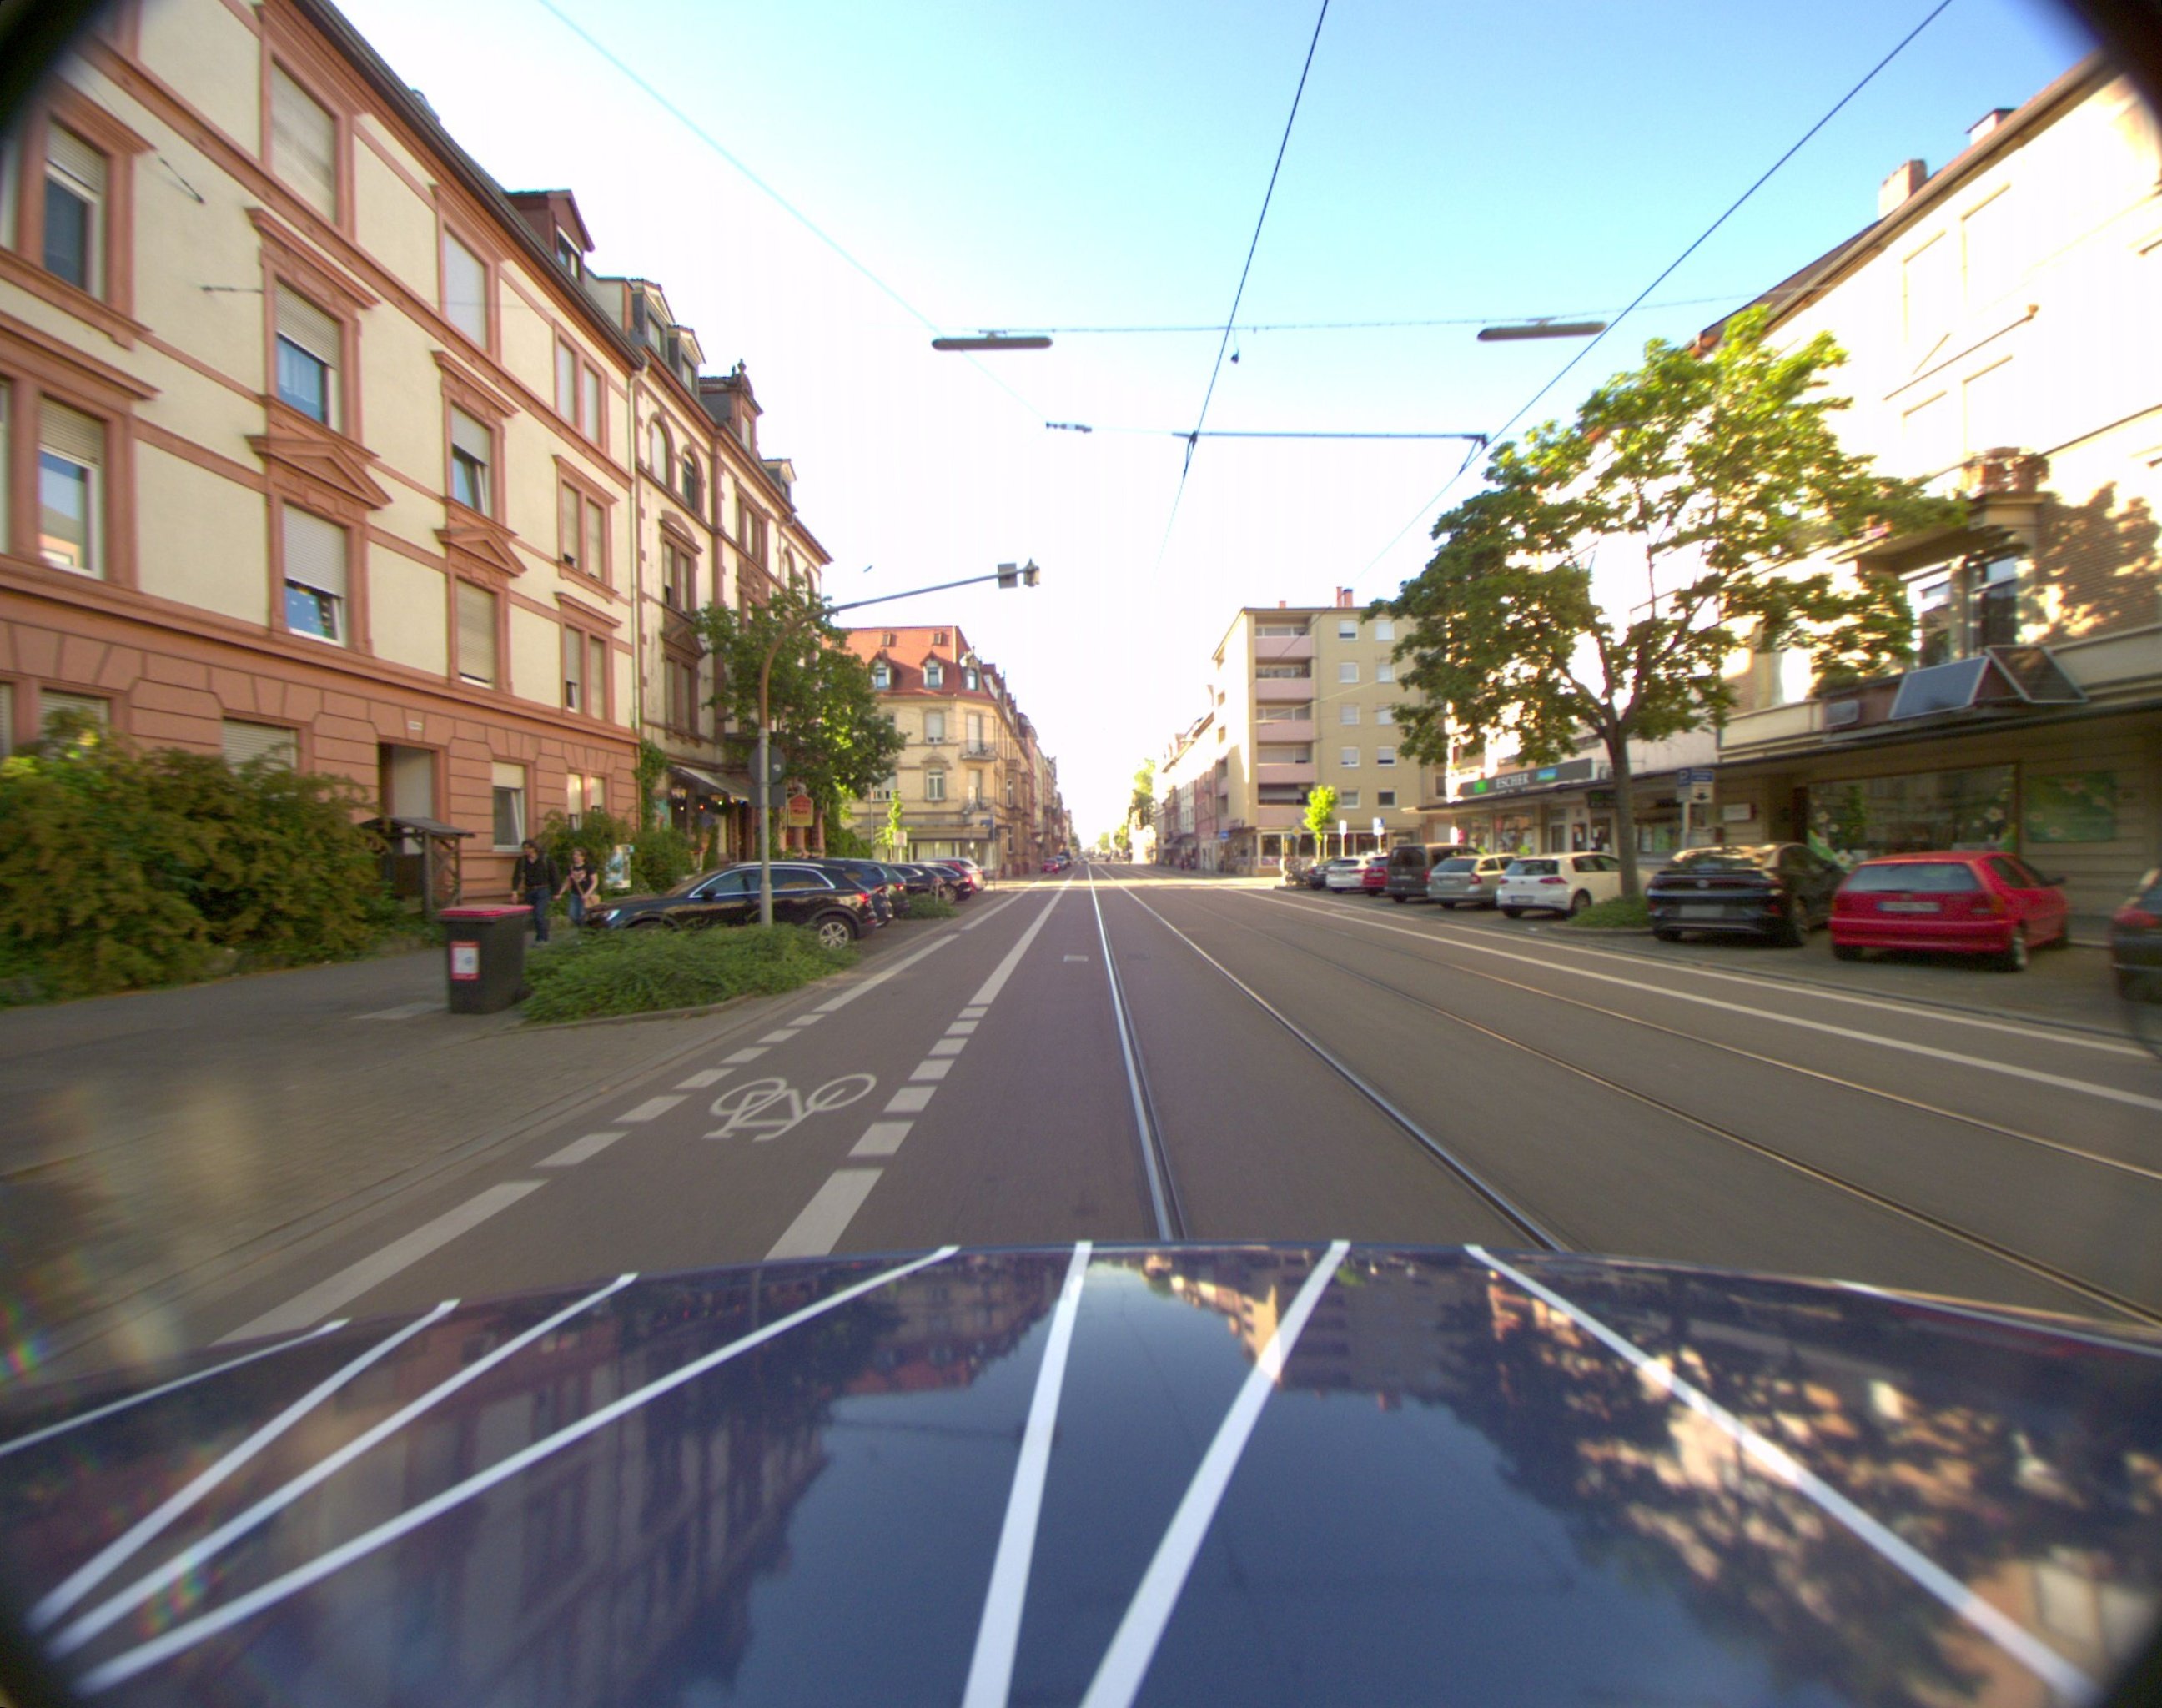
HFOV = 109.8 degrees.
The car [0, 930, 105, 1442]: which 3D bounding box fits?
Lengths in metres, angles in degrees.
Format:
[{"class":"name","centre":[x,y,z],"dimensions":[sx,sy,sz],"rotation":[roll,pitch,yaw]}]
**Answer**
[{"class":"car","centre":[-4.401,1.104,0.281],"dimensions":[1.878,1.587,4.719],"rotation":[-2,1,1]}]

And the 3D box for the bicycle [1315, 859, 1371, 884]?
[{"class":"bicycle","centre":[12.429,0.838,36.103],"dimensions":[2.429,1.102,0.685],"rotation":[-3,-2,41]}]

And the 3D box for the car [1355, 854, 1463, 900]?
[{"class":"car","centre":[11.530,0.783,26.702],"dimensions":[3.476,1.464,1.645],"rotation":[-1,0,-28]}]

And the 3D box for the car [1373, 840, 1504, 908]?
[{"class":"car","centre":[11.215,0.570,23.769],"dimensions":[3.828,1.775,1.793],"rotation":[-4,2,-30]}]

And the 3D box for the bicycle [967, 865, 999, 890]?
[{"class":"bicycle","centre":[-4.709,1.124,36.557],"dimensions":[1.400,1.120,0.551],"rotation":[-2,1,1]}]

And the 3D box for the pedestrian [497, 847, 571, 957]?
[{"class":"pedestrian","centre":[-9.094,0.768,12.654],"dimensions":[0.519,1.768,0.863],"rotation":[-2,1,1]}]

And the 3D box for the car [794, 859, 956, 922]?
[{"class":"car","centre":[-6.115,1.006,22.569],"dimensions":[4.337,1.587,2.041],"rotation":[-2,1,-24]}]

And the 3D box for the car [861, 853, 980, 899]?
[{"class":"car","centre":[-6.015,0.782,28.490],"dimensions":[4.004,1.528,1.915],"rotation":[-2,1,-24]}]

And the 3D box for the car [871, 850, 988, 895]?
[{"class":"car","centre":[-6.183,0.710,31.037],"dimensions":[4.370,1.587,1.850],"rotation":[-2,1,-24]}]

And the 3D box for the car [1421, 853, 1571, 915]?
[{"class":"car","centre":[11.405,0.754,20.836],"dimensions":[4.025,1.441,1.695],"rotation":[-2,1,-29]}]

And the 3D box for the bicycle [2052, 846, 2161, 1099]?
[{"class":"bicycle","centre":[7.536,0.797,4.586],"dimensions":[0.682,1.669,2.096],"rotation":[-2,1,1]}]

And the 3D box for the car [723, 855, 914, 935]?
[{"class":"car","centre":[-6.173,0.878,17.948],"dimensions":[4.004,1.587,1.955],"rotation":[-2,1,-24]}]

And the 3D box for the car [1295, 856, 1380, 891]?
[{"class":"car","centre":[11.000,0.810,32.564],"dimensions":[3.476,1.330,1.620],"rotation":[-2,1,-33]}]

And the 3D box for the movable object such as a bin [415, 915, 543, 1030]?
[{"class":"movable object such as a bin","centre":[-6.017,1.165,7.637],"dimensions":[0.606,1.021,0.806],"rotation":[-1,1,1]}]

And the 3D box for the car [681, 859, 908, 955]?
[{"class":"car","centre":[-5.759,0.971,15.434],"dimensions":[4.004,1.587,2.083],"rotation":[-2,1,-24]}]

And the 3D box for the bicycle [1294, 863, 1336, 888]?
[{"class":"bicycle","centre":[10.884,0.998,35.446],"dimensions":[0.685,1.116,1.883],"rotation":[-1,-2,-30]}]

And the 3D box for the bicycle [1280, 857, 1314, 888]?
[{"class":"bicycle","centre":[9.768,0.850,34.487],"dimensions":[0.683,1.311,2.435],"rotation":[-2,-2,-3]}]

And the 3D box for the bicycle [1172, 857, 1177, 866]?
[{"class":"bicycle","centre":[12.236,0.977,99.396],"dimensions":[0.425,1.053,2.329],"rotation":[-2,1,0]}]

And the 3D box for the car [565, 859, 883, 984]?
[{"class":"car","centre":[-5.667,0.952,12.415],"dimensions":[4.323,1.587,1.978],"rotation":[-2,1,-28]}]

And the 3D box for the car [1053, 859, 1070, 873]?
[{"class":"car","centre":[-2.445,1.476,93.590],"dimensions":[1.871,1.637,4.399],"rotation":[2,0,-3]}]

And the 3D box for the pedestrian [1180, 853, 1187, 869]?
[{"class":"pedestrian","centre":[10.179,0.668,75.469],"dimensions":[0.637,1.540,0.623],"rotation":[-2,1,0]}]

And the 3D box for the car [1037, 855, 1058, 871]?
[{"class":"car","centre":[-3.364,0.863,76.331],"dimensions":[1.870,1.474,4.400],"rotation":[2,1,0]}]

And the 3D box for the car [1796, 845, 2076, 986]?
[{"class":"car","centre":[11.718,0.690,10.366],"dimensions":[4.006,1.480,1.863],"rotation":[-2,1,-32]}]

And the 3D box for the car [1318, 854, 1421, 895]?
[{"class":"car","centre":[11.223,0.743,29.510],"dimensions":[3.798,1.392,1.750],"rotation":[-2,1,-32]}]

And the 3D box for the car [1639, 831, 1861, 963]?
[{"class":"car","centre":[11.220,0.569,12.640],"dimensions":[4.375,1.772,1.990],"rotation":[-2,1,-38]}]

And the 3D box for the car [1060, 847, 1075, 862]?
[{"class":"car","centre":[-2.338,0.069,129.475],"dimensions":[2.128,2.478,5.856],"rotation":[-2,1,3]}]

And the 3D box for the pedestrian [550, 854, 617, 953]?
[{"class":"pedestrian","centre":[-8.542,0.826,13.075],"dimensions":[0.519,1.639,0.863],"rotation":[-2,1,1]}]

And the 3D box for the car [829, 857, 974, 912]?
[{"class":"car","centre":[-6.091,0.984,25.782],"dimensions":[4.454,1.587,2.084],"rotation":[-2,1,-24]}]

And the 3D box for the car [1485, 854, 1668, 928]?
[{"class":"car","centre":[11.475,0.782,17.584],"dimensions":[3.849,1.421,1.762],"rotation":[-2,1,-25]}]

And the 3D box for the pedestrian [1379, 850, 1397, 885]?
[{"class":"pedestrian","centre":[14.744,0.627,36.466],"dimensions":[0.570,1.643,0.641],"rotation":[-2,1,1]}]

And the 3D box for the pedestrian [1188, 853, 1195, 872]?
[{"class":"pedestrian","centre":[10.179,0.759,69.975],"dimensions":[0.564,1.676,0.616],"rotation":[-2,1,-1]}]

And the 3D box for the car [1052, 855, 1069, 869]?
[{"class":"car","centre":[-2.657,1.038,99.755],"dimensions":[1.998,1.606,4.785],"rotation":[2,1,0]}]

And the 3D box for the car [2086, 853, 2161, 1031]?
[{"class":"car","centre":[11.685,0.785,7.466],"dimensions":[4.006,1.480,1.802],"rotation":[-2,1,-32]}]
